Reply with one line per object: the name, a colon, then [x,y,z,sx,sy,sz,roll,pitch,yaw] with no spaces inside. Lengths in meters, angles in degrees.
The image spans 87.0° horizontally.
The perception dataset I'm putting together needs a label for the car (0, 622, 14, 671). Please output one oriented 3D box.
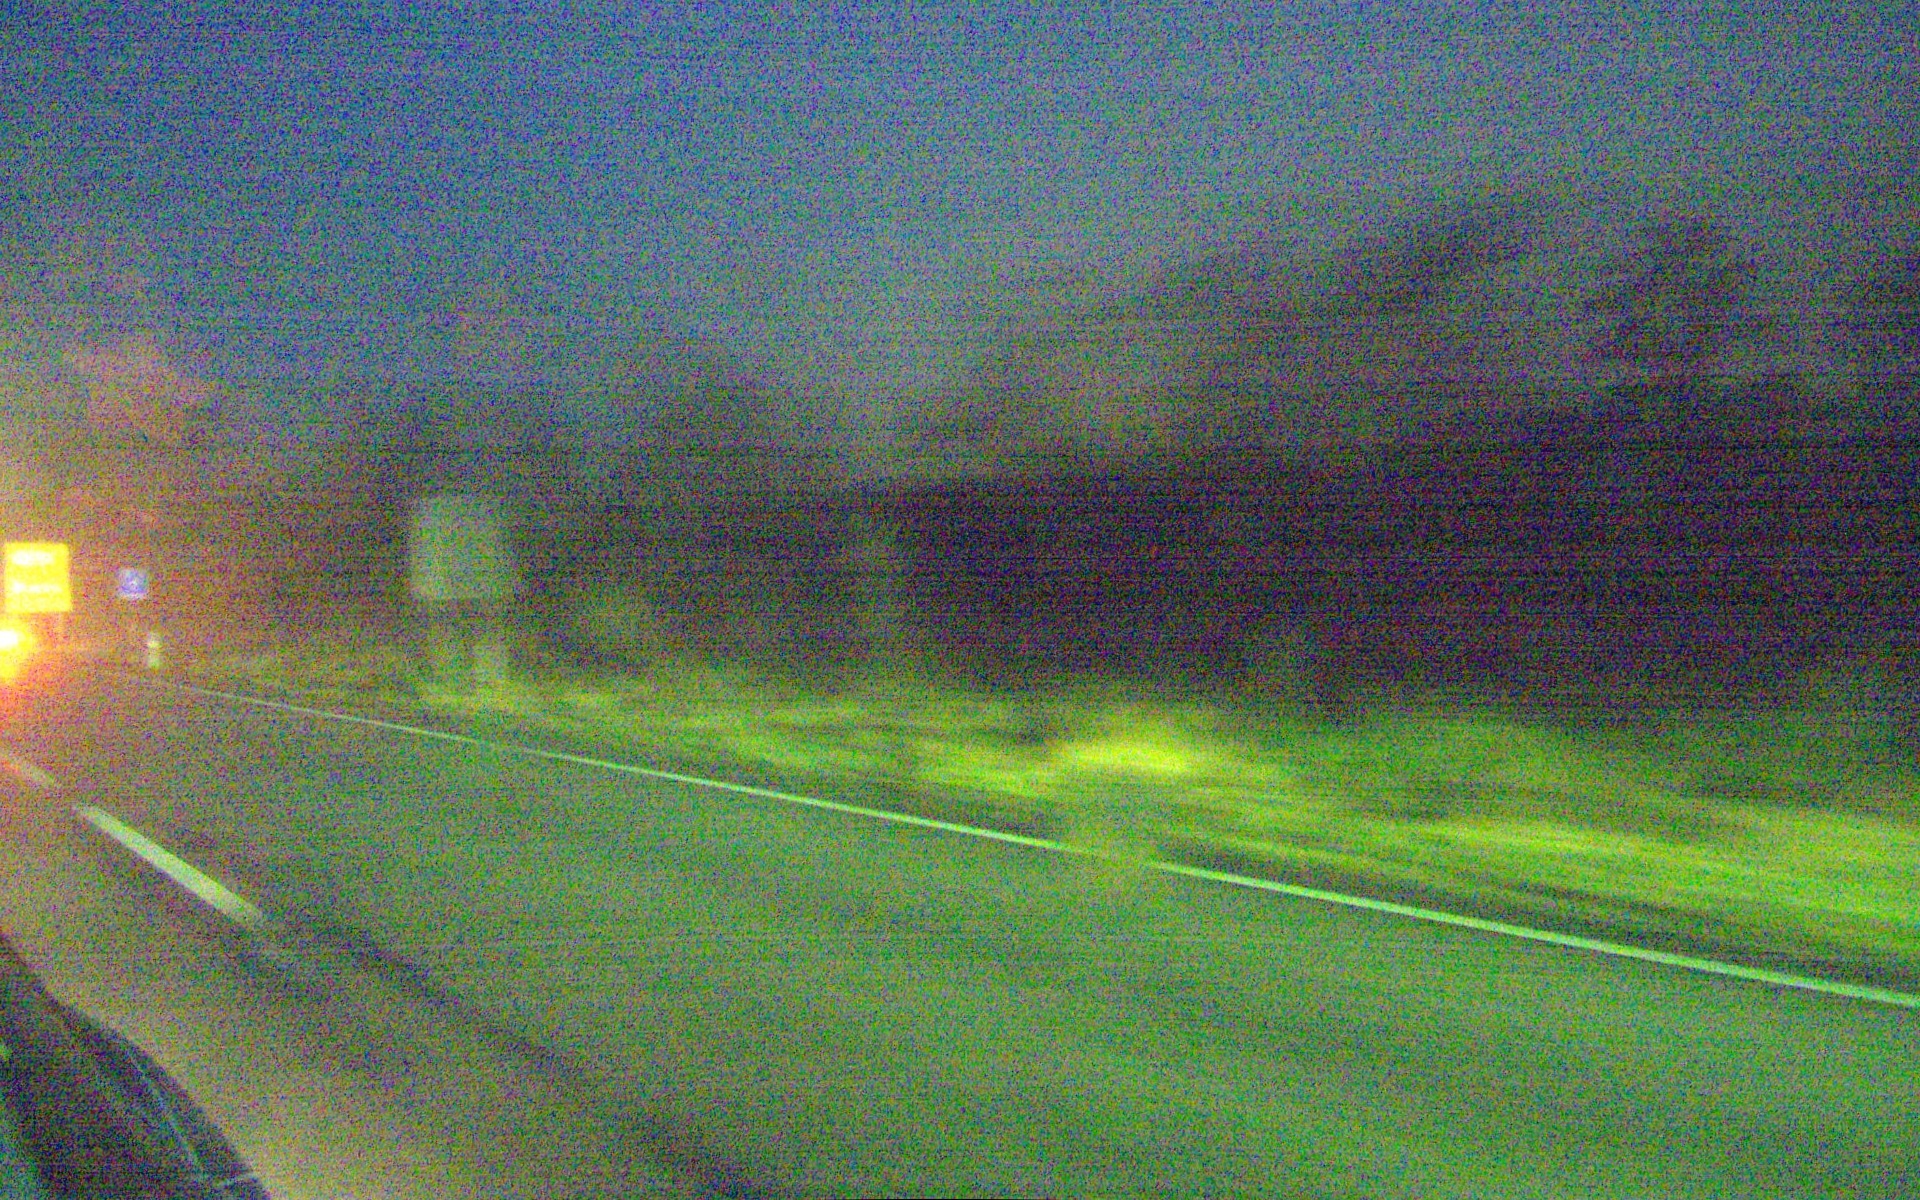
car: [-32.993,1.537,33.561,3.998,1.560,1.973,-1,0,41]
